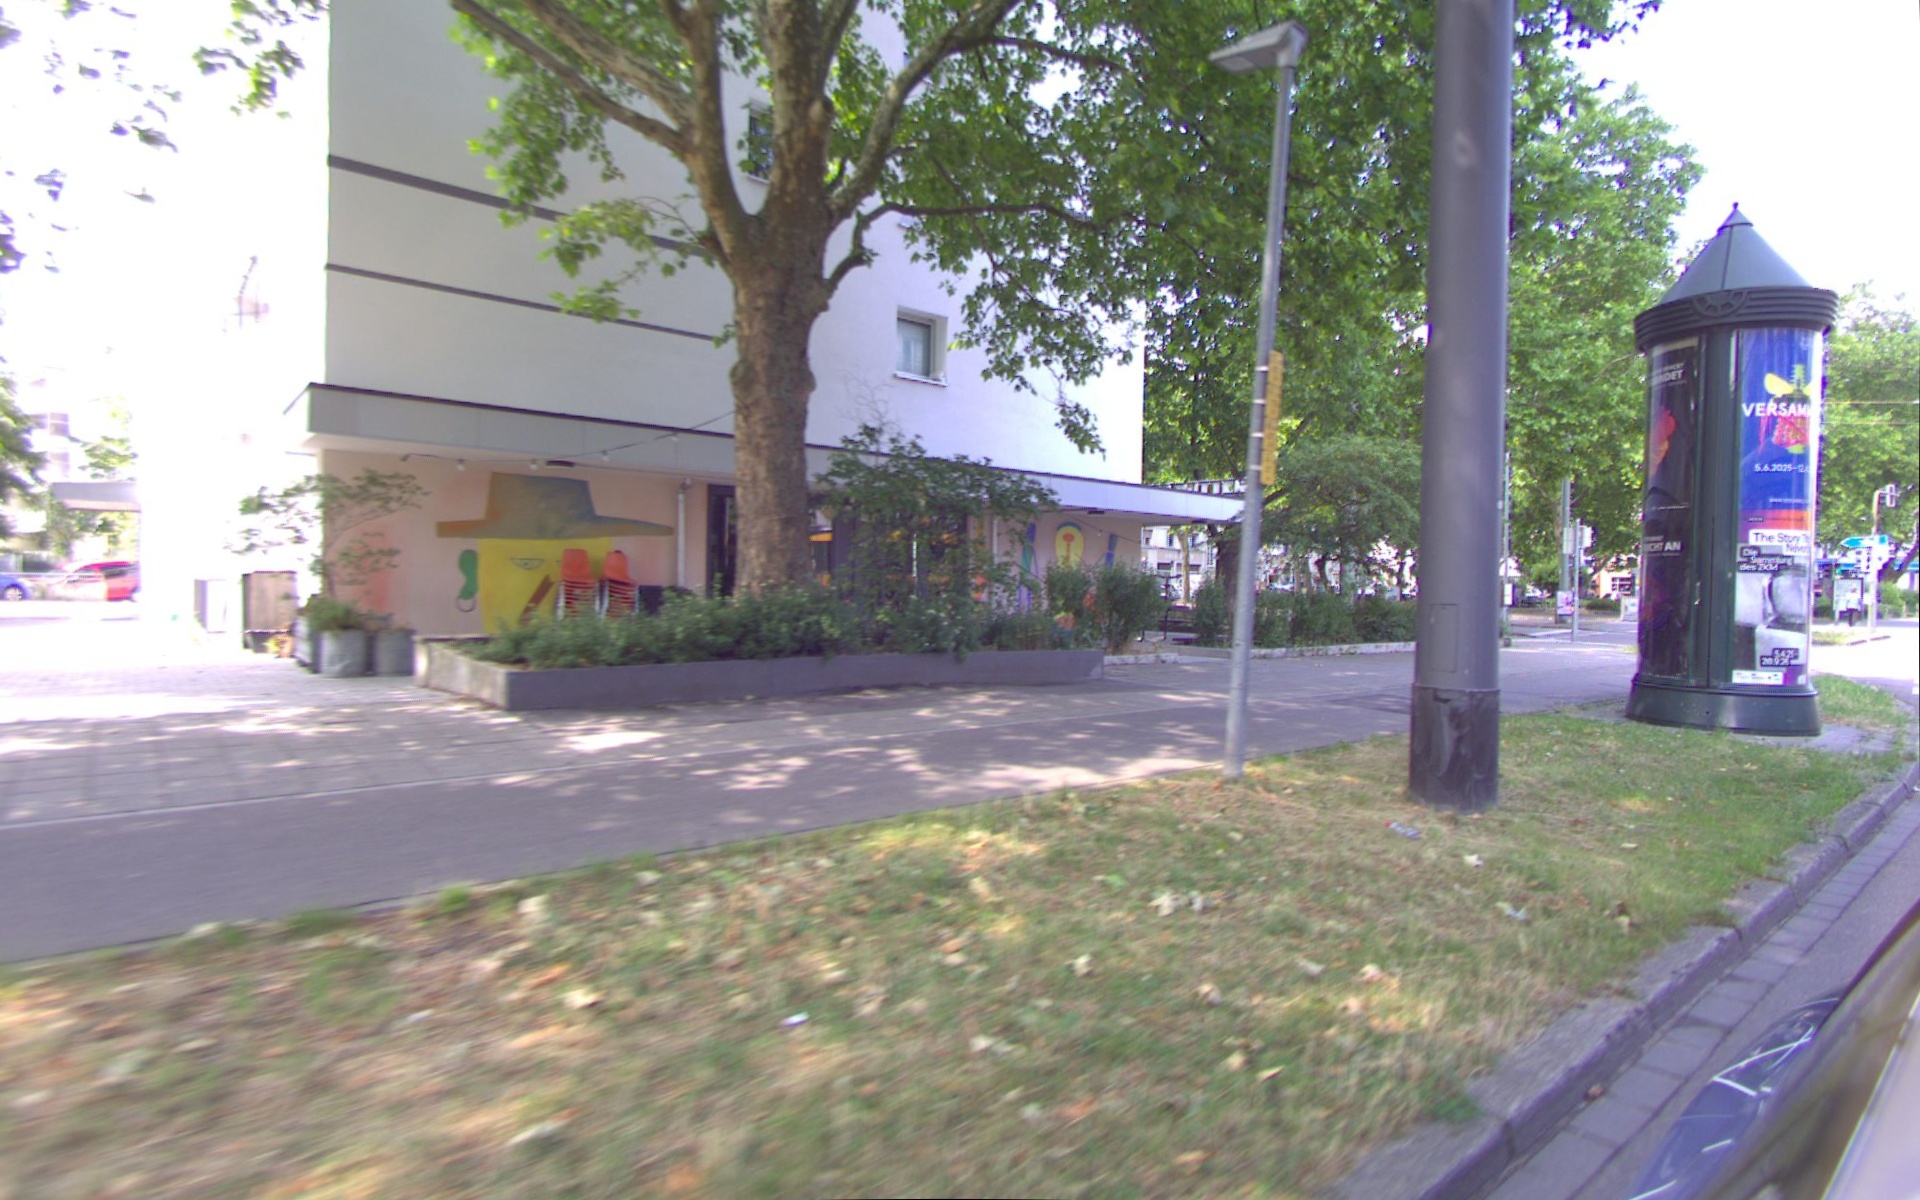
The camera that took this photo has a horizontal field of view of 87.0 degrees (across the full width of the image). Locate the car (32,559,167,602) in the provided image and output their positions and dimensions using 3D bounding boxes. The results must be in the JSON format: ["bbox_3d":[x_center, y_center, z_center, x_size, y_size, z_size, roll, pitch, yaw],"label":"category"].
[{"bbox_3d":[-35.194,-0.811,41.510,1.690,1.652,3.896,2,1,23],"label":"car"}]

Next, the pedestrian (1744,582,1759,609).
[{"bbox_3d":[52.149,-0.318,66.713,0.600,1.772,0.692,1,1,27],"label":"pedestrian"}]

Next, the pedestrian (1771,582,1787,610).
[{"bbox_3d":[53.066,-0.248,65.566,0.600,1.772,0.692,1,1,26],"label":"pedestrian"}]

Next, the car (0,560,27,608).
[{"bbox_3d":[-34.488,-0.550,34.310,1.690,1.652,3.896,2,1,23],"label":"car"}]

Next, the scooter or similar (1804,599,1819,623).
[{"bbox_3d":[39.205,0.483,46.573,0.488,1.069,0.698,2,1,39],"label":"scooter or similar"}]

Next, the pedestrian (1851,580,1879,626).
[{"bbox_3d":[36.518,0.105,40.838,0.871,1.805,0.694,1,1,-38],"label":"pedestrian"}]

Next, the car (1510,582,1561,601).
[{"bbox_3d":[57.101,-0.840,100.490,1.835,1.822,3.998,0,1,-37],"label":"car"}]

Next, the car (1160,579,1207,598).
[{"bbox_3d":[17.109,-0.896,77.429,3.225,1.406,1.447,2,1,44],"label":"car"}]

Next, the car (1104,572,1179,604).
[{"bbox_3d":[10.026,-0.682,55.916,3.714,1.682,1.850,2,1,28],"label":"car"}]

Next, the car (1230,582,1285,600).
[{"bbox_3d":[24.755,-0.776,84.400,1.964,1.440,3.996,0,1,-39],"label":"car"}]

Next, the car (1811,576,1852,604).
[{"bbox_3d":[78.665,-0.901,91.302,3.928,2.450,2.111,0,1,-39],"label":"car"}]

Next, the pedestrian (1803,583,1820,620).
[{"bbox_3d":[39.726,0.071,47.204,0.567,1.666,0.910,2,1,39],"label":"pedestrian"}]
